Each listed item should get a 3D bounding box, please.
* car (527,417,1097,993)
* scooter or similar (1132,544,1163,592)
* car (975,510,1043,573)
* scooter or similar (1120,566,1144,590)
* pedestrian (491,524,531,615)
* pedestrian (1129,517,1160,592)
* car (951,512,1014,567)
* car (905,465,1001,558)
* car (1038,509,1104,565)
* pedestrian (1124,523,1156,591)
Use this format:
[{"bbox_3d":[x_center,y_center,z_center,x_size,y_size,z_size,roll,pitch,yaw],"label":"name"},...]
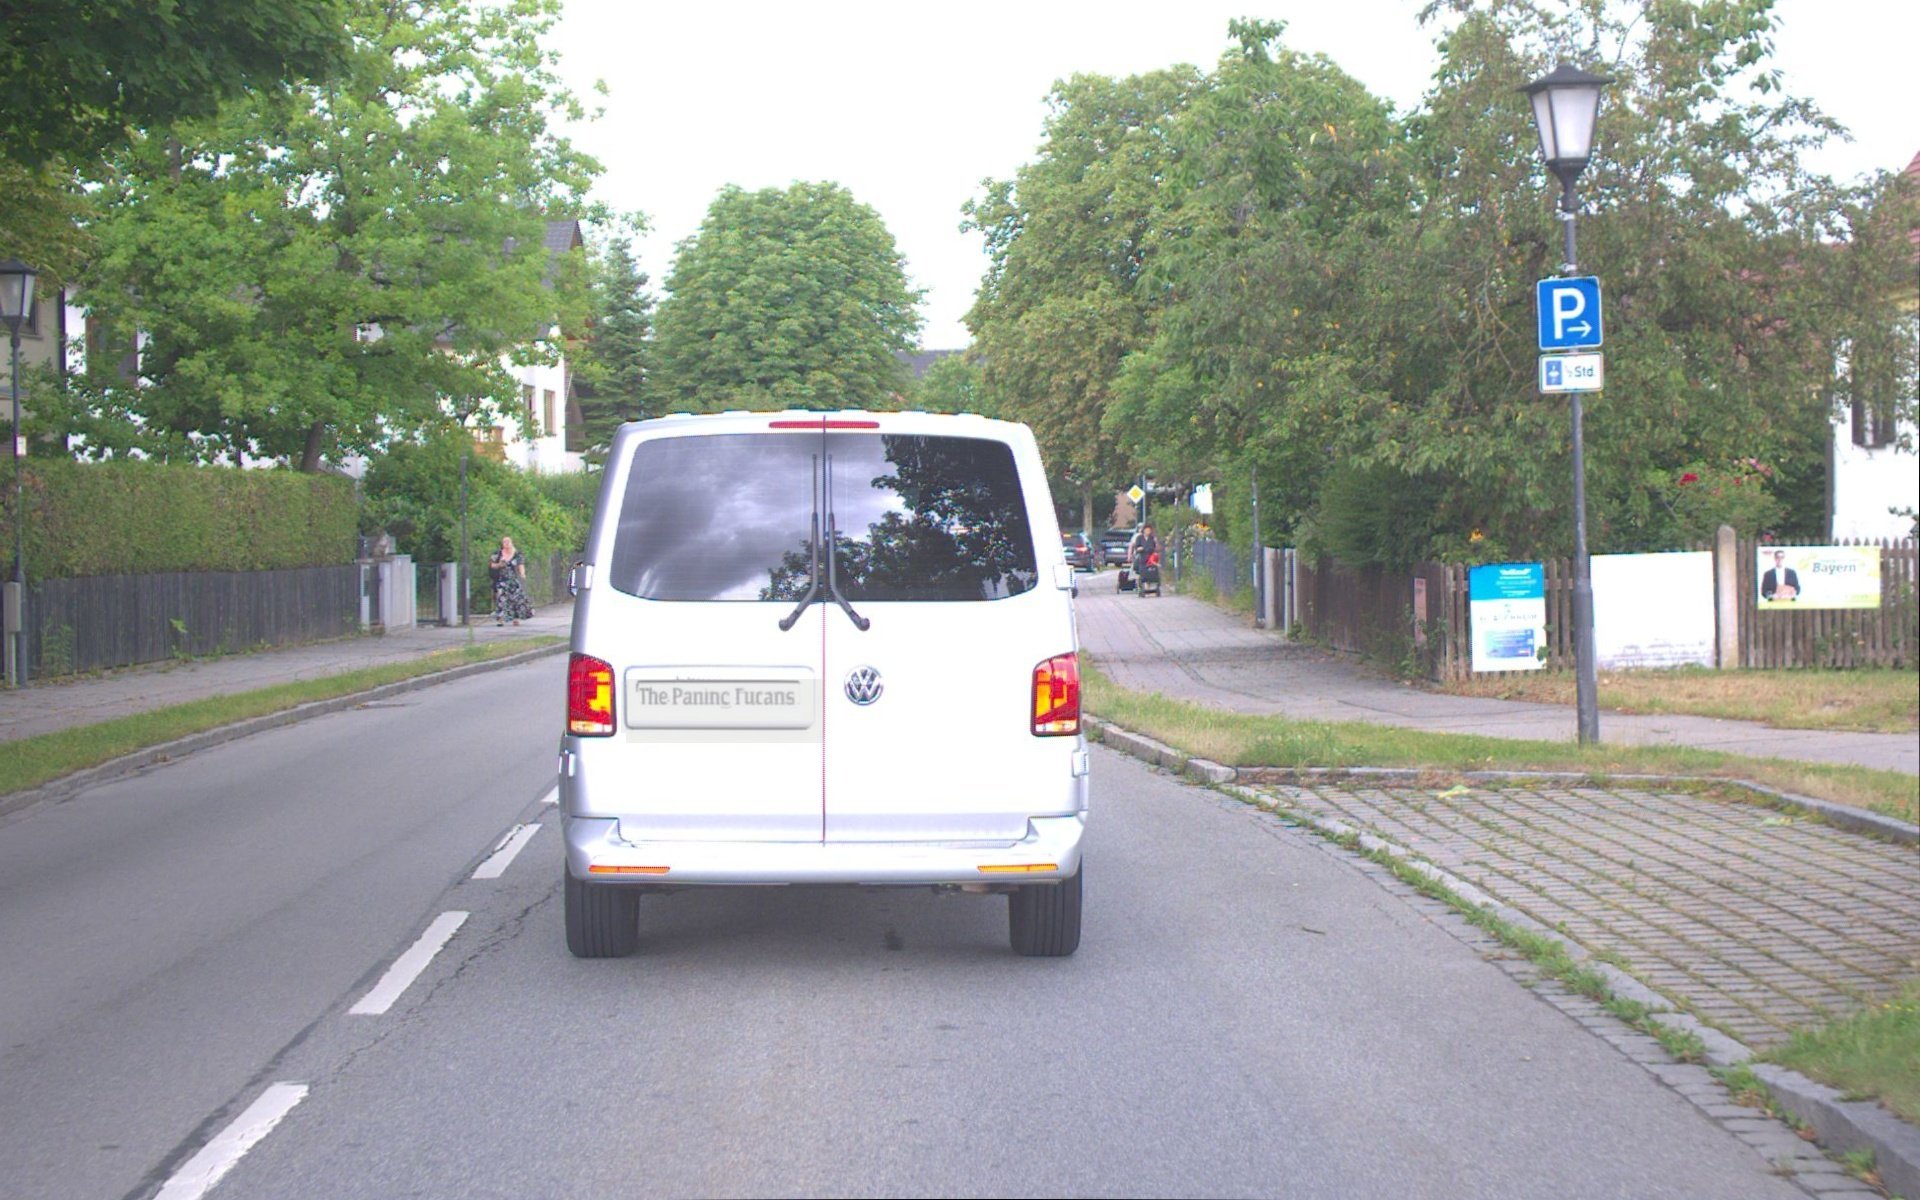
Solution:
[{"bbox_3d":[-0.477,0.316,13.415,1.888,1.905,4.000,0,1,0],"label":"car"},{"bbox_3d":[3.841,-0.649,70.320,0.551,0.968,0.620,1,1,-3],"label":"scooter or similar"},{"bbox_3d":[1.639,-1.941,113.296,1.994,2.007,4.000,-1,1,4],"label":"car"},{"bbox_3d":[3.911,-0.500,78.198,0.474,0.543,0.459,1,1,-3],"label":"scooter or similar"},{"bbox_3d":[-7.715,-0.519,59.073,0.622,1.544,0.522,1,1,-3],"label":"pedestrian"},{"bbox_3d":[3.821,-0.942,71.048,0.551,1.544,0.612,1,1,-3],"label":"pedestrian"},{"bbox_3d":[0.853,-2.264,127.938,1.994,2.007,3.999,-1,1,5],"label":"car"},{"bbox_3d":[-0.133,-1.978,77.425,1.993,2.007,4.000,1,1,2],"label":"car"},{"bbox_3d":[4.109,-2.337,126.558,1.994,2.007,3.999,-1,1,8],"label":"car"},{"bbox_3d":[4.053,-0.977,77.512,0.622,1.518,0.579,1,1,-3],"label":"pedestrian"}]
